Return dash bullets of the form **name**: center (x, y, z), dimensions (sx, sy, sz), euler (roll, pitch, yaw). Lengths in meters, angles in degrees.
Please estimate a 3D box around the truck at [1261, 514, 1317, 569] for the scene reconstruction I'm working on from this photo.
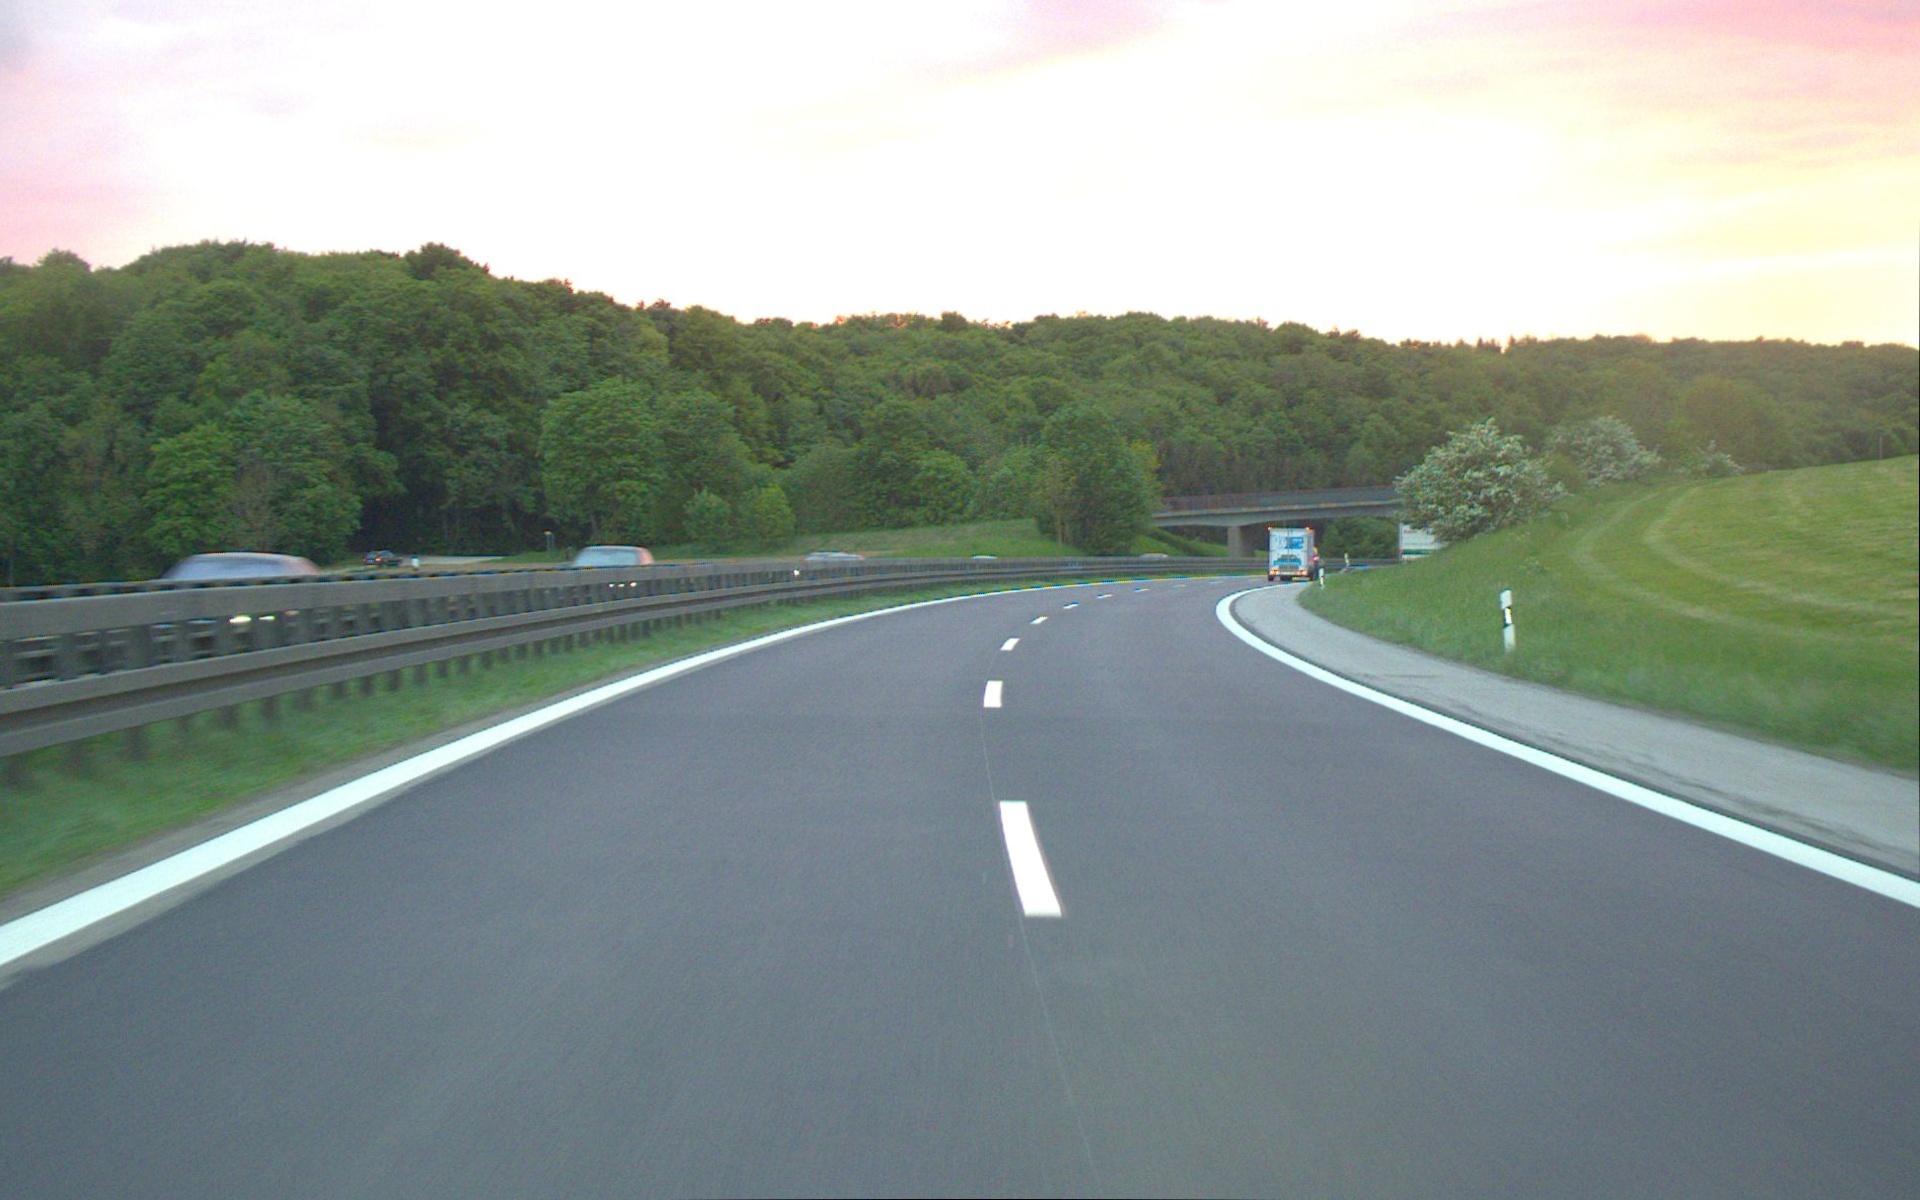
- **truck**: center (16.459, -2.949, 171.747), dimensions (2.277, 2.656, 5.234), euler (-2, 1, 10)

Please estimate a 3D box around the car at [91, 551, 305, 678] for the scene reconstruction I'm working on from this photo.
- **car**: center (-9.778, 0.146, 44.374), dimensions (1.865, 1.510, 4.000), euler (1, 1, 0)

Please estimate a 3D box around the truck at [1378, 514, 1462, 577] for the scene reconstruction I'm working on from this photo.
- **truck**: center (32.354, -3.802, 241.228), dimensions (3.961, 4.272, 14.313), euler (0, 0, 15)
